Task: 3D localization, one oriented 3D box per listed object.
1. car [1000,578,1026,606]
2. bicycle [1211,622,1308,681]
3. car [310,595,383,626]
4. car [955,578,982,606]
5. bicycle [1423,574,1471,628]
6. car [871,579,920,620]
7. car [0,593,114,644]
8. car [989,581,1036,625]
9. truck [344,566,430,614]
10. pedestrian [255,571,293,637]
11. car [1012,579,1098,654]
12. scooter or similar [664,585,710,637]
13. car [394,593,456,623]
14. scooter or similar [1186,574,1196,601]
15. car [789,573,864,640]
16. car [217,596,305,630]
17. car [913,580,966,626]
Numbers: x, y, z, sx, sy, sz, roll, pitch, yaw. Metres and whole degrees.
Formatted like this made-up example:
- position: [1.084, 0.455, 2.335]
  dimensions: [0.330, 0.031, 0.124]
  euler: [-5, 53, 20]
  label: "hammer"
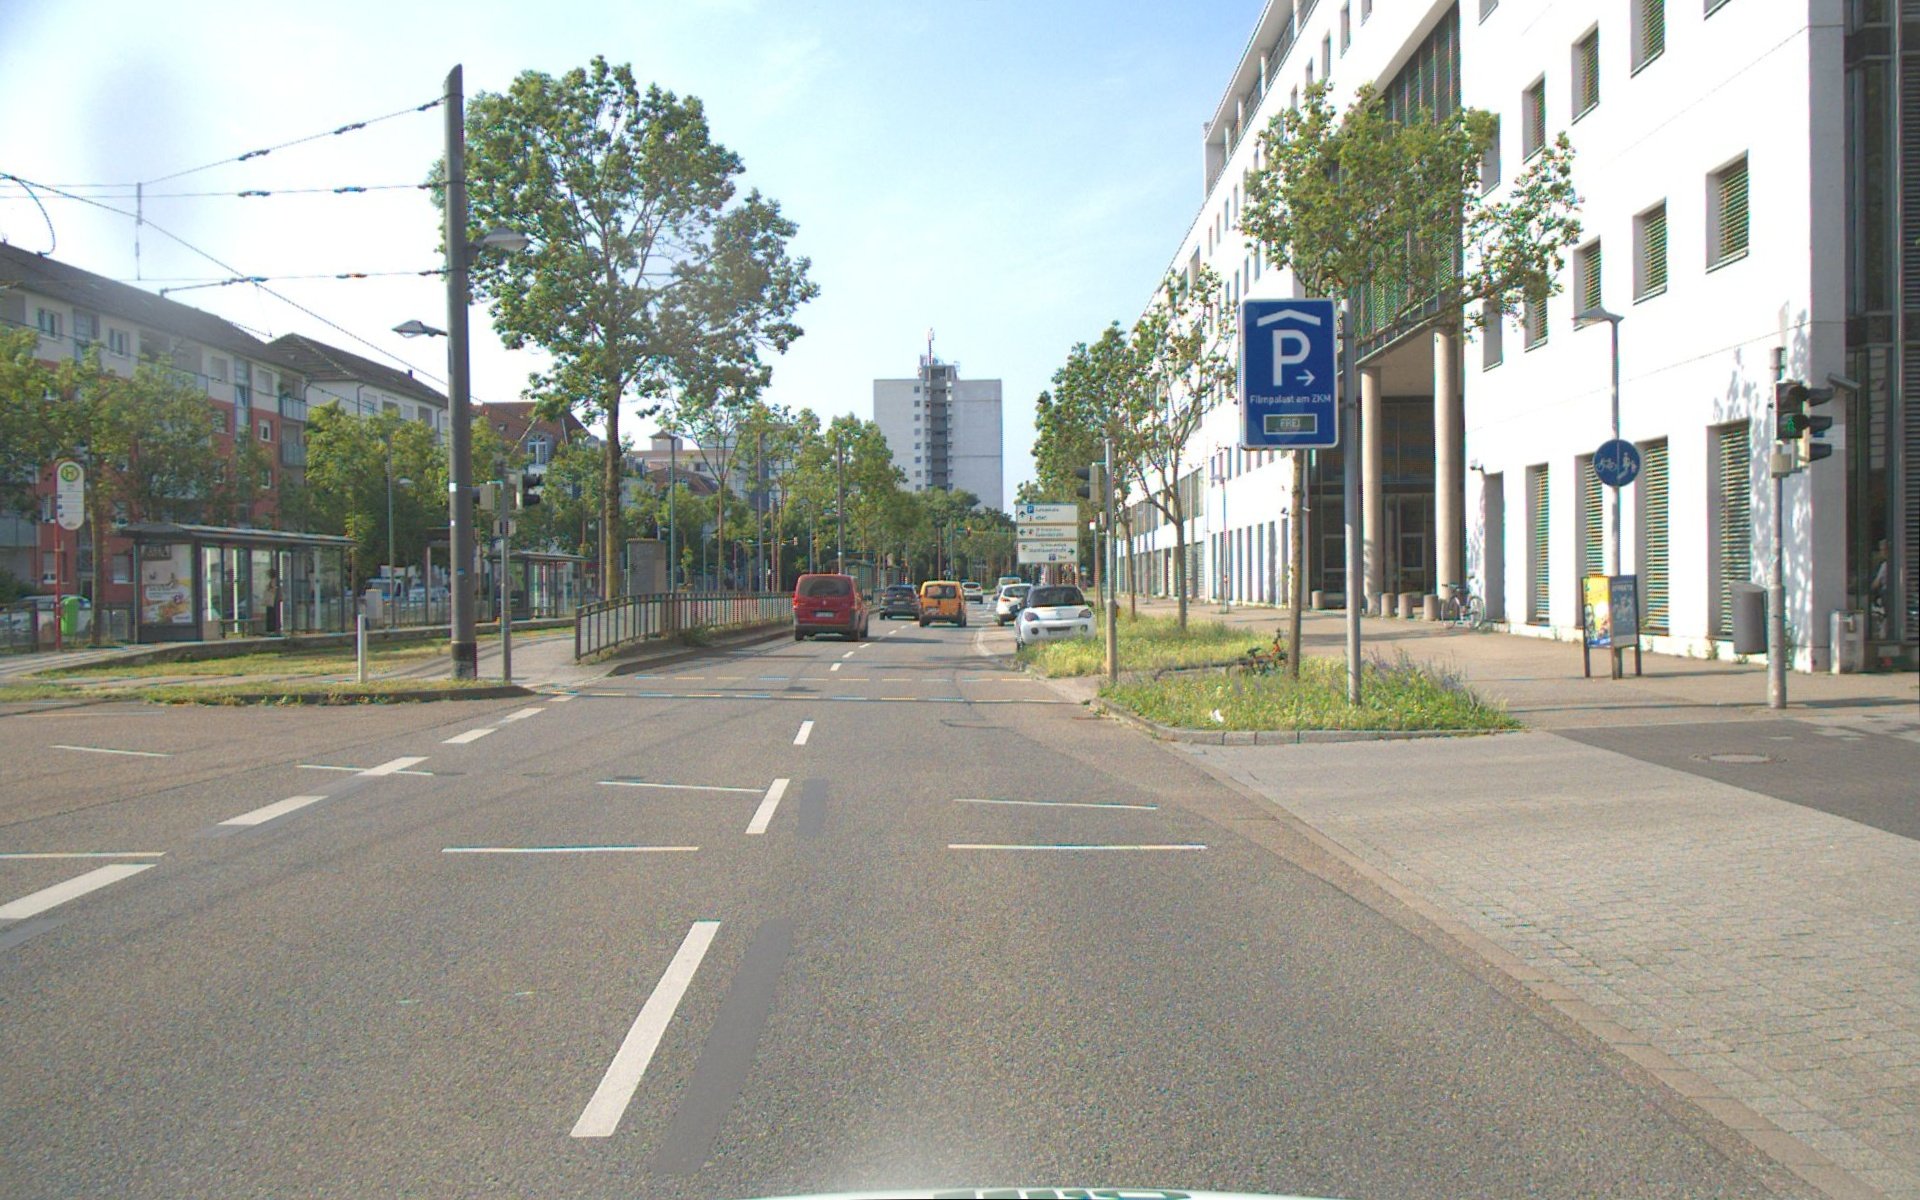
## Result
- position: [4.039, -0.608, 126.857]
  dimensions: [1.952, 2.049, 4.001]
  euler: [-1, 0, 1]
  label: "car"
- position: [4.114, 0.702, 22.767]
  dimensions: [1.244, 0.643, 0.521]
  euler: [-7, -1, 8]
  label: "bicycle"
- position: [-29.482, 0.478, 79.546]
  dimensions: [1.940, 1.384, 4.069]
  euler: [1, 0, 0]
  label: "car"
- position: [0.627, -0.598, 125.835]
  dimensions: [1.953, 2.049, 4.000]
  euler: [-1, 0, 0]
  label: "car"
- position: [10.389, 0.007, 35.307]
  dimensions: [0.483, 1.105, 1.549]
  euler: [-2, 0, -2]
  label: "bicycle"
- position: [-2.867, -0.034, 74.344]
  dimensions: [1.952, 1.735, 4.001]
  euler: [-1, 0, 1]
  label: "car"
- position: [-30.158, 0.592, 54.750]
  dimensions: [1.940, 1.583, 4.537]
  euler: [1, 0, 0]
  label: "car"
- position: [1.985, 0.092, 62.977]
  dimensions: [1.654, 1.552, 3.851]
  euler: [-3, 0, 1]
  label: "car"
- position: [-32.546, -0.569, 94.185]
  dimensions: [2.317, 2.607, 7.241]
  euler: [1, 0, 0]
  label: "truck"
- position: [-17.803, 0.110, 42.915]
  dimensions: [0.658, 1.682, 0.794]
  euler: [-1, 0, -3]
  label: "pedestrian"
- position: [2.071, 0.332, 36.895]
  dimensions: [1.685, 1.545, 3.781]
  euler: [-1, 1, 0]
  label: "car"
- position: [-6.846, 0.273, 41.489]
  dimensions: [0.418, 1.260, 1.260]
  euler: [-2, 0, 28]
  label: "scooter or similar"
- position: [-29.139, 0.430, 90.281]
  dimensions: [1.940, 1.540, 4.281]
  euler: [1, 0, 0]
  label: "car"
- position: [11.056, -0.613, 79.169]
  dimensions: [0.452, 1.234, 1.255]
  euler: [-2, 1, 7]
  label: "scooter or similar"
- position: [-3.864, 0.163, 48.478]
  dimensions: [1.836, 1.886, 4.000]
  euler: [0, 0, 0]
  label: "car"
- position: [-29.461, 0.527, 69.834]
  dimensions: [1.940, 1.384, 4.069]
  euler: [1, 0, 0]
  label: "car"
- position: [-0.744, 0.094, 63.305]
  dimensions: [1.837, 1.726, 3.974]
  euler: [0, 0, 2]
  label: "car"
